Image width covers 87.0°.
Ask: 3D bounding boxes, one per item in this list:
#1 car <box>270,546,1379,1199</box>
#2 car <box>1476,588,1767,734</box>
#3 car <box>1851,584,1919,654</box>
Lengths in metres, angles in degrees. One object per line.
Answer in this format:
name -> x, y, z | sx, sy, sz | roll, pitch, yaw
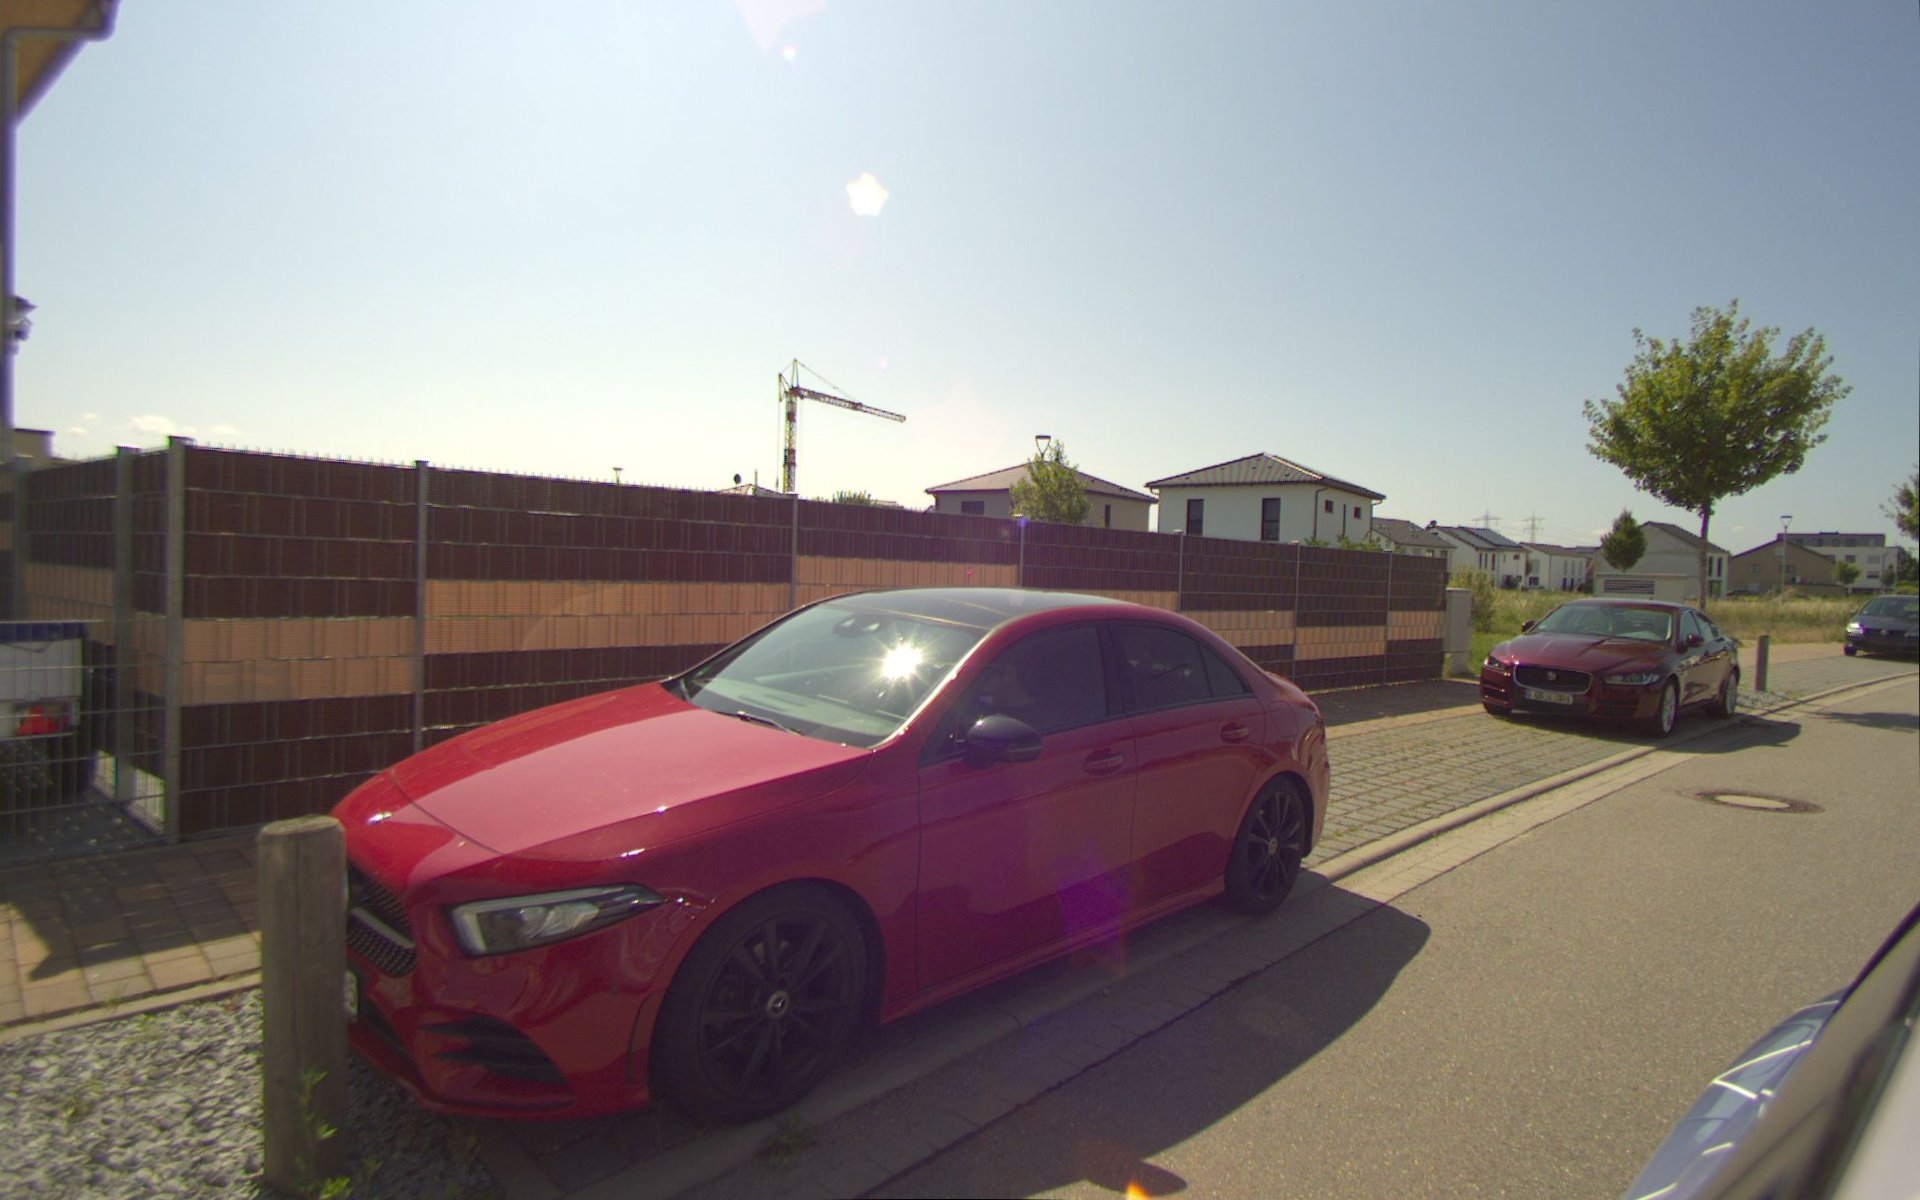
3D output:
car -> -0.087, 0.593, 4.269 | 4.445, 1.455, 1.765 | 0, 4, -44
car -> 8.075, 0.595, 12.173 | 4.496, 1.380, 1.758 | 0, 3, -41
car -> 22.533, 0.429, 23.858 | 3.608, 1.493, 1.603 | 0, 4, -39
